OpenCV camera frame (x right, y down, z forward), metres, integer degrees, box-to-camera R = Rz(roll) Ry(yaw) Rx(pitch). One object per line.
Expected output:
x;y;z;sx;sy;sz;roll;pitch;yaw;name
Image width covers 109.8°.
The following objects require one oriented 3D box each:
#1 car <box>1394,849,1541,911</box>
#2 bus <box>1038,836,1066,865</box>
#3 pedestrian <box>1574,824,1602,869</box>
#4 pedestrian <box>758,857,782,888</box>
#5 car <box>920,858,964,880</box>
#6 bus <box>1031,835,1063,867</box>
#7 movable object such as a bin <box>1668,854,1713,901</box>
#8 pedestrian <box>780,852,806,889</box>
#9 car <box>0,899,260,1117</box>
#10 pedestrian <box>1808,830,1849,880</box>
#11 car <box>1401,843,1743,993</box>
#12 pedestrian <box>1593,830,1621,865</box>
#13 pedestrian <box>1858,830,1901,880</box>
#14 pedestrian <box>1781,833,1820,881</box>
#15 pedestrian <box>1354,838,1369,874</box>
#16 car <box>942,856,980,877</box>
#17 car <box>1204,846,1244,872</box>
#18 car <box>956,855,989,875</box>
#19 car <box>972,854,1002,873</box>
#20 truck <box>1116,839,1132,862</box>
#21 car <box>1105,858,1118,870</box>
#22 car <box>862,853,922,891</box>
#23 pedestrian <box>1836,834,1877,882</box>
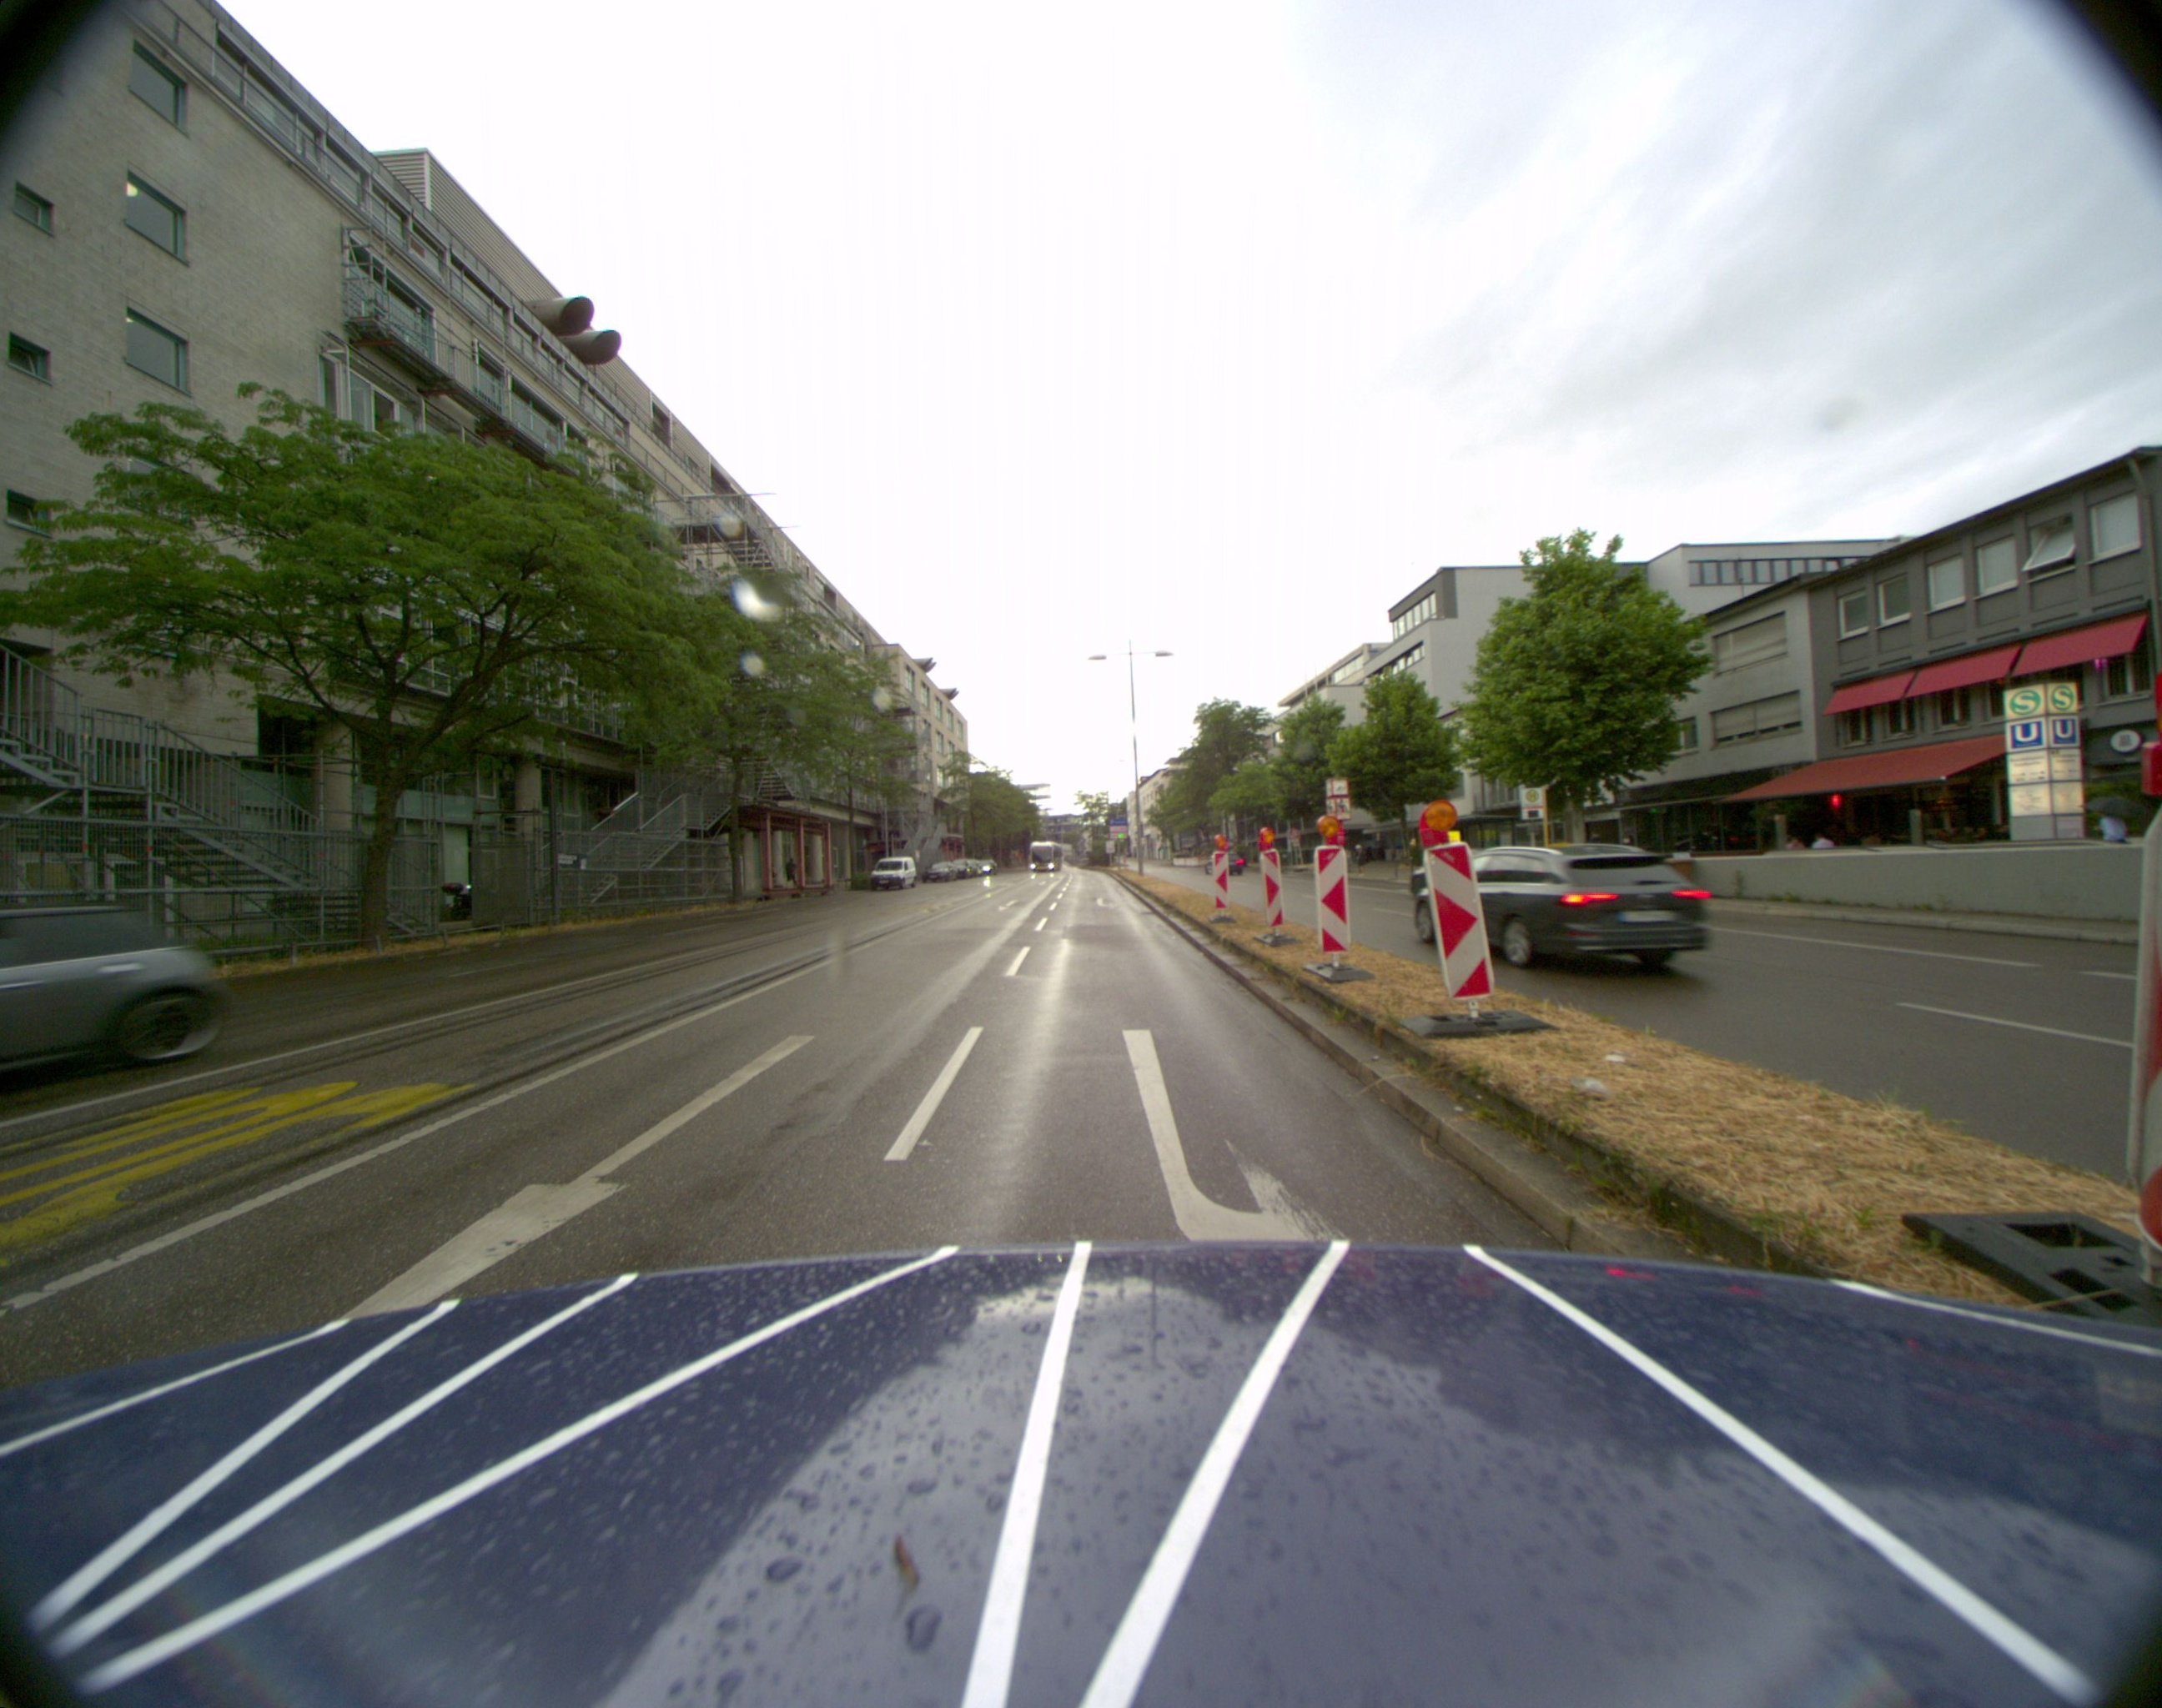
10.430;0.622;20.890;1.692;1.423;4.211;-2;1;-4;car
-3.640;-0.505;97.052;2.890;3.420;9.709;-2;1;1;bus
23.072;-0.341;34.589;0.774;2.002;0.767;-2;1;8;pedestrian
-18.577;1.073;45.398;1.010;1.789;0.846;-2;1;-3;pedestrian
-9.892;1.054;54.423;2.147;1.329;4.816;-2;1;1;car
-3.790;-0.392;87.307;2.890;3.430;9.756;-2;1;1;bus
14.562;0.552;18.170;0.507;1.094;0.660;-2;1;-2;movable object such as a bin
-16.285;0.939;43.004;1.009;2.002;1.039;-2;1;1;pedestrian
-8.621;1.198;5.186;1.743;1.447;3.723;-3;0;6;car
23.225;0.022;23.619;0.669;1.520;0.611;-2;1;3;pedestrian
5.990;0.666;10.016;1.692;1.501;4.291;-2;0;0;car
23.985;-0.294;34.653;0.774;1.556;0.767;-2;1;8;pedestrian
24.992;0.036;23.794;0.669;1.520;0.611;-2;1;3;pedestrian
23.340;0.090;24.655;0.669;1.520;0.611;-2;1;3;pedestrian
14.484;0.113;39.279;0.575;1.815;0.580;-2;1;7;pedestrian
-9.624;0.978;61.222;2.147;1.486;4.816;-2;1;1;car
9.460;0.301;50.478;1.692;1.545;4.419;-2;1;-2;car
-9.464;0.937;66.691;2.147;1.552;4.816;-2;1;1;car
-8.894;0.896;72.427;2.147;1.637;4.816;-2;1;1;car
7.105;-0.558;127.117;1.999;3.557;7.572;-2;0;-2;truck
5.515;1.845;135.927;1.999;2.002;3.999;-2;1;-2;car
-10.527;0.955;42.658;2.213;1.895;4.329;-2;1;0;car
25.000;0.137;24.497;0.669;1.520;0.611;-2;1;4;pedestrian
